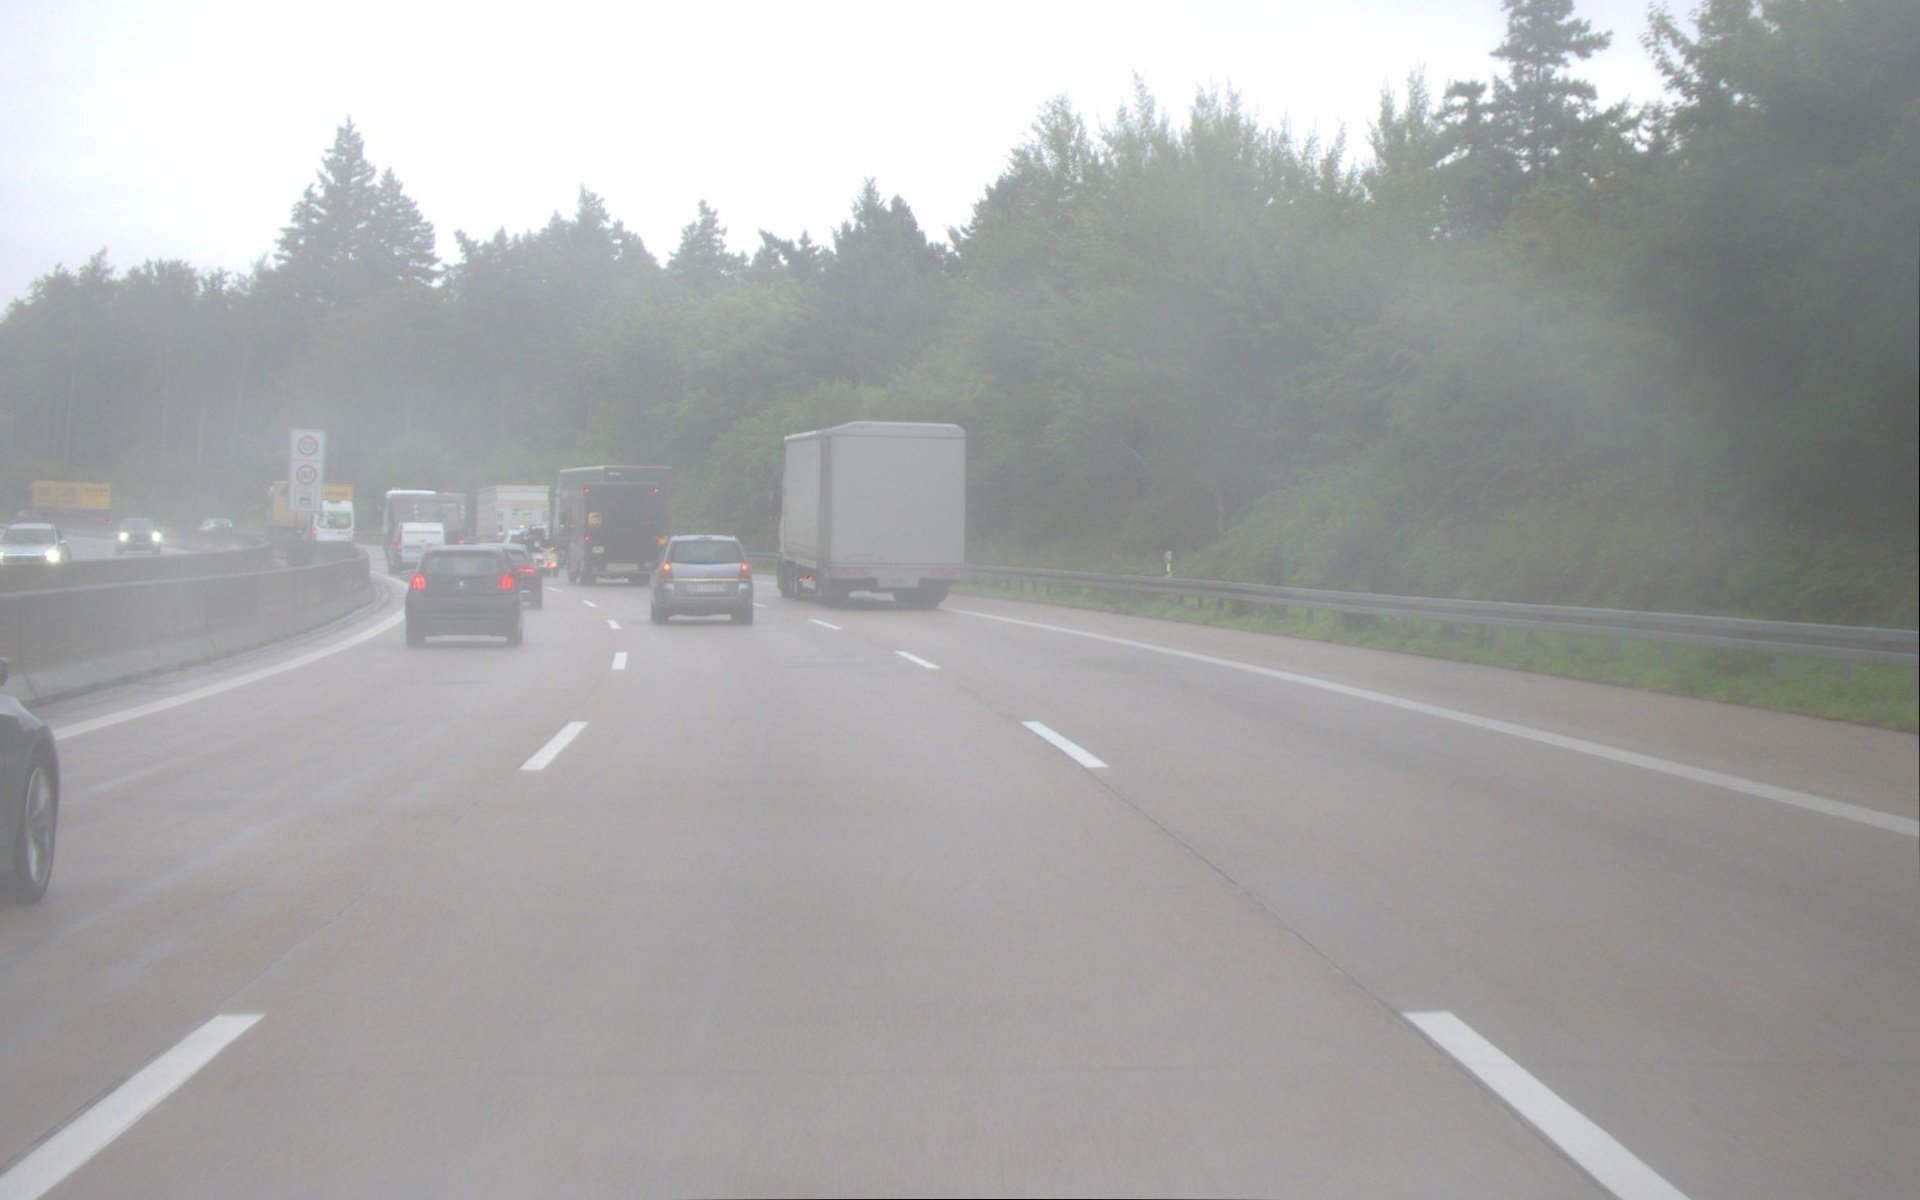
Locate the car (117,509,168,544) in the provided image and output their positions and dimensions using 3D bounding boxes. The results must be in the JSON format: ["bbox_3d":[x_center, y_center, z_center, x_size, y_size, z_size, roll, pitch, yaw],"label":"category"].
[{"bbox_3d":[-37.451,-3.368,157.568,1.715,1.574,4.001,0,1,-5],"label":"car"}]

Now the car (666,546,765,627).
[{"bbox_3d":[-4.399,-0.265,62.270,1.553,1.347,3.684,2,1,-1],"label":"car"}]

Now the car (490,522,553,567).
[{"bbox_3d":[-15.452,-1.963,121.399,1.881,1.468,4.001,2,1,-3],"label":"car"}]

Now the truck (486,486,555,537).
[{"bbox_3d":[-21.216,-4.275,165.757,2.973,2.301,6.669,2,1,-10],"label":"truck"}]

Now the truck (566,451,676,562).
[{"bbox_3d":[-13.315,-3.651,134.224,3.368,4.117,10.441,1,1,-10],"label":"truck"}]

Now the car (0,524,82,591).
[{"bbox_3d":[-25.094,-1.175,93.420,1.730,1.770,4.760,0,1,-6],"label":"car"}]

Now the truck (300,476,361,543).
[{"bbox_3d":[-40.526,-5.792,221.182,3.739,4.195,6.820,0,1,-11],"label":"truck"}]

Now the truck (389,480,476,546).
[{"bbox_3d":[-24.776,-4.121,161.111,3.081,2.895,7.906,1,2,-15],"label":"truck"}]

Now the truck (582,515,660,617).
[{"bbox_3d":[-10.452,-1.093,106.121,2.269,2.877,7.905,1,2,-6],"label":"truck"}]

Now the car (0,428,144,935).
[{"bbox_3d":[-4.661,0.304,13.537,1.907,1.938,6.164,0,1,-5],"label":"car"}]

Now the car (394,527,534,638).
[{"bbox_3d":[-7.147,-0.280,49.779,1.683,1.457,3.684,2,1,-4],"label":"car"}]

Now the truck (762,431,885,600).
[{"bbox_3d":[-3.452,-2.119,85.689,2.419,4.054,4.980,1,1,-9],"label":"truck"}]

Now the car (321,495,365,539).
[{"bbox_3d":[-29.947,-4.014,166.829,1.993,2.052,4.001,0,1,-11],"label":"car"}]

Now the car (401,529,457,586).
[{"bbox_3d":[-18.774,-1.511,121.737,1.725,2.007,3.657,0,1,-5],"label":"car"}]

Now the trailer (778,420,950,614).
[{"bbox_3d":[-2.344,-1.918,78.660,2.419,4.054,12.058,1,1,-9],"label":"trailer"}]
